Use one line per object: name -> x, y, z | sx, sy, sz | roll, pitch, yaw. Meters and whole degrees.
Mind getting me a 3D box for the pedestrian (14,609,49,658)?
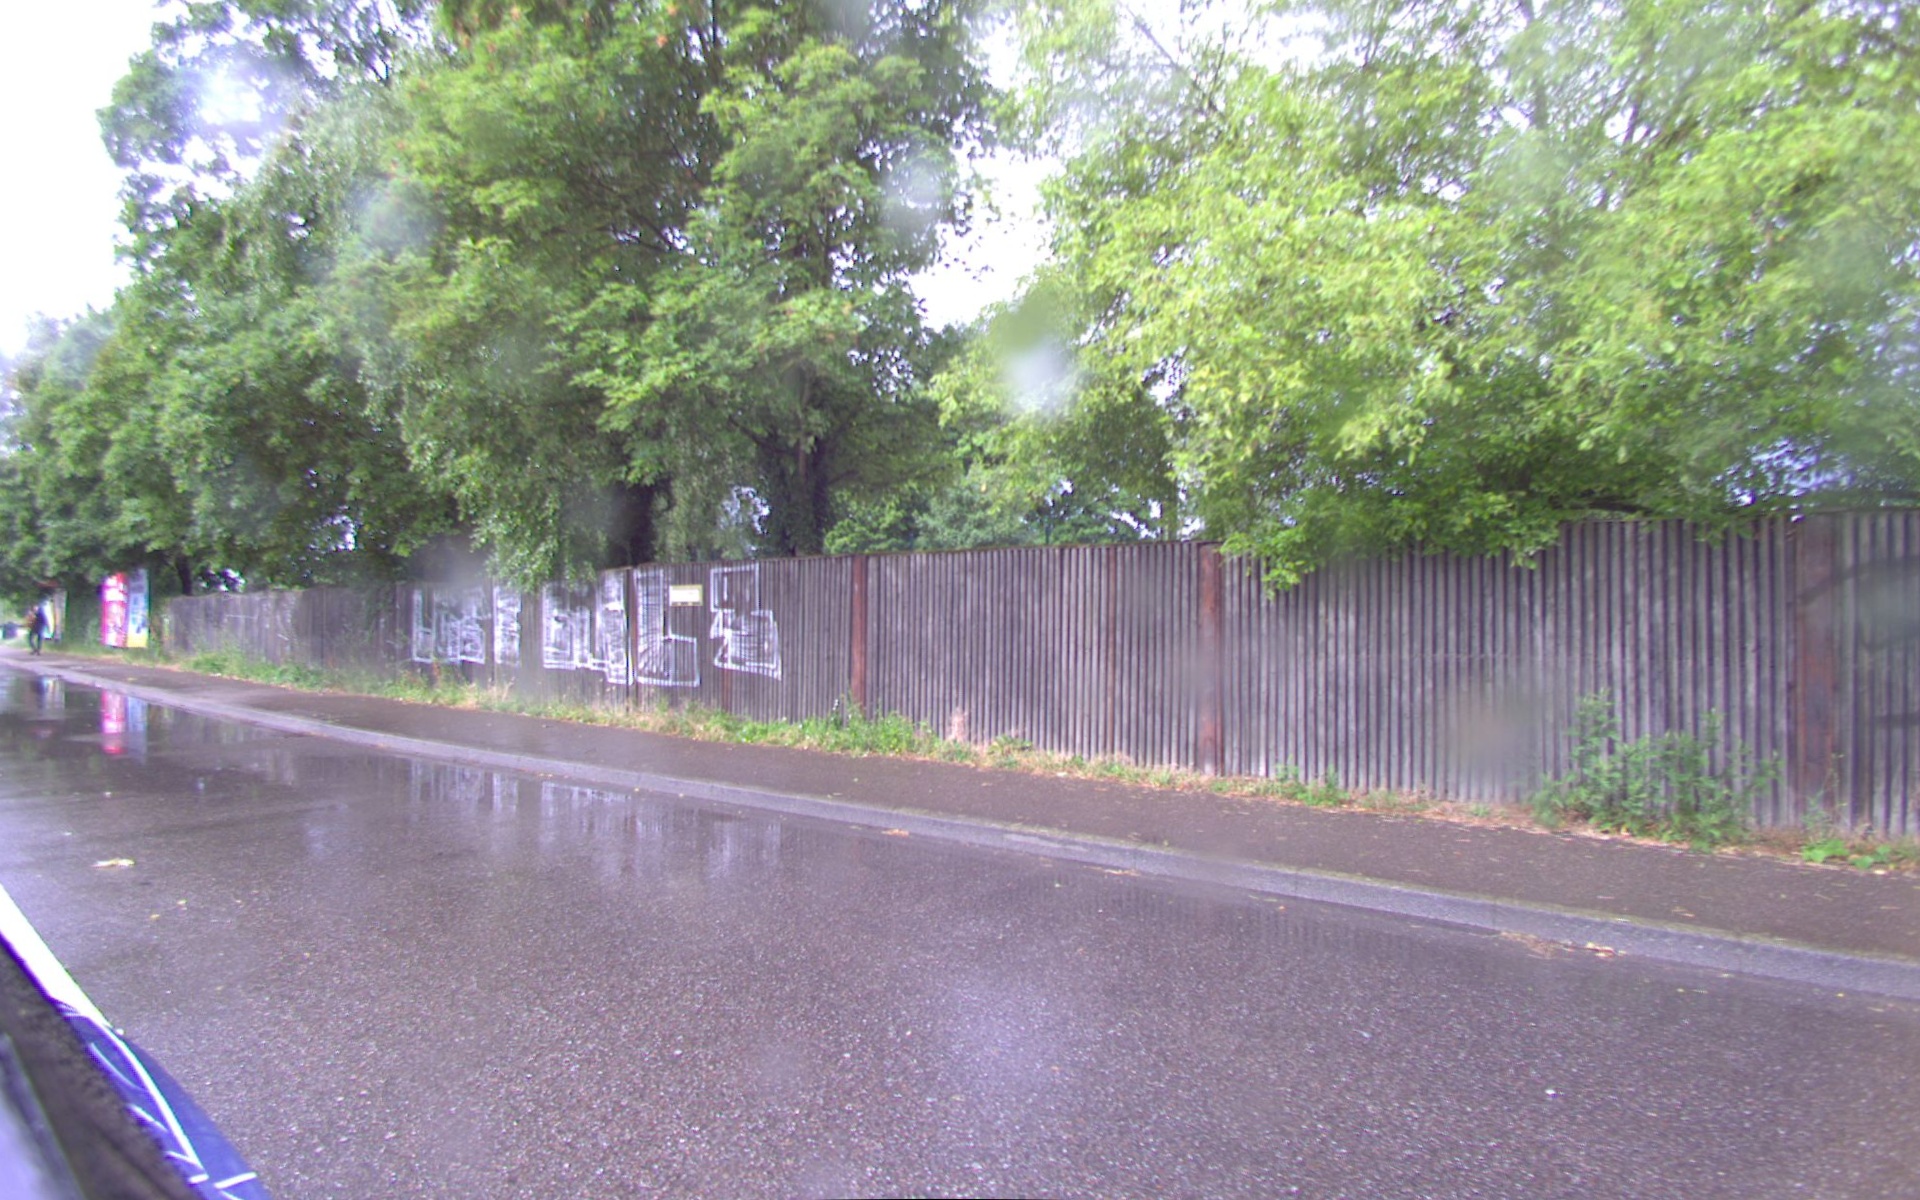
pedestrian -> -33.832, 1.220, 36.865 | 0.644, 1.783, 0.830 | -1, -2, 40
